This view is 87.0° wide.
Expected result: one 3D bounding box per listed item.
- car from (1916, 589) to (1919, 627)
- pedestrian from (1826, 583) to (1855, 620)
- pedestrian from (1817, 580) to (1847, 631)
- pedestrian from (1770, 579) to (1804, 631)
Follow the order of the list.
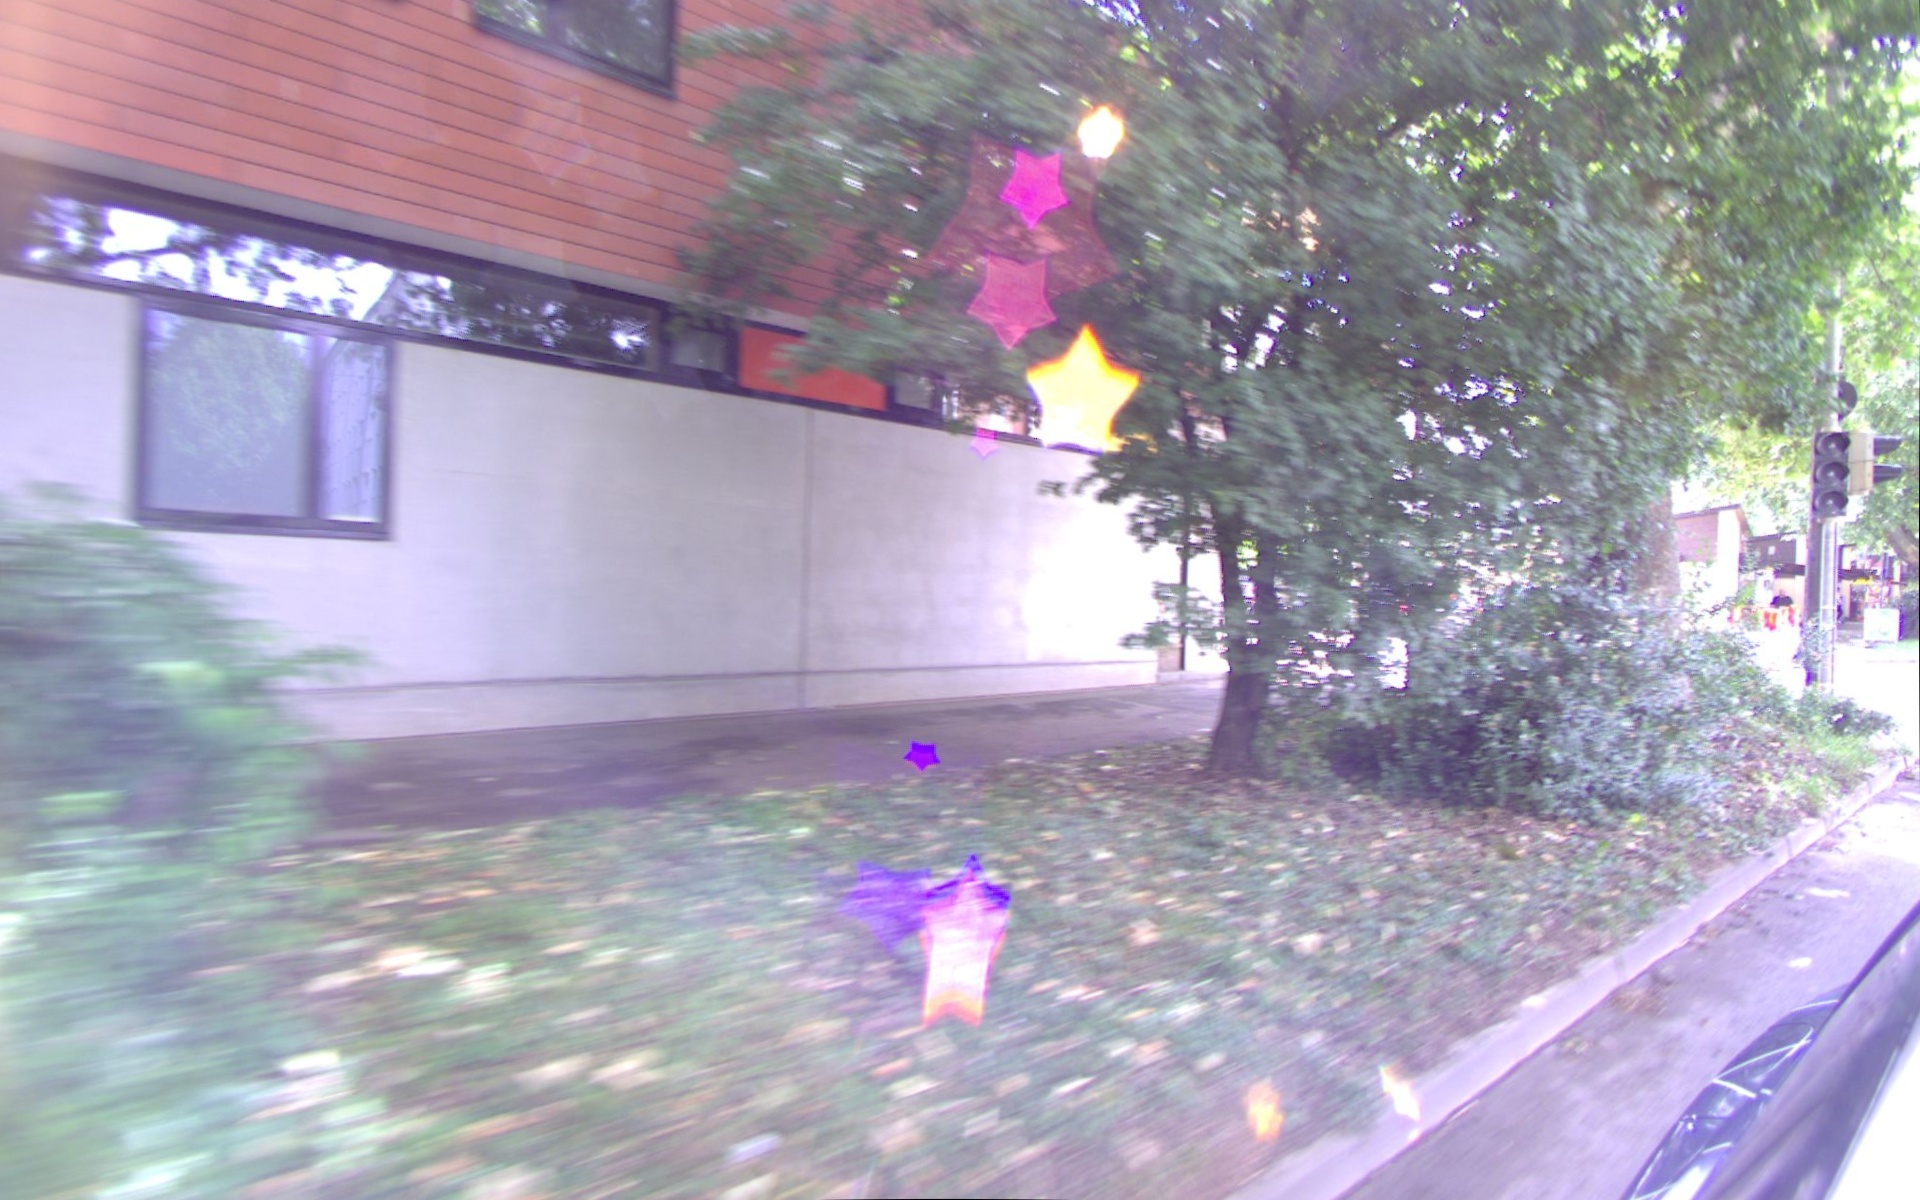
[{"bbox_3d":[42.196,0.433,41.829,3.830,1.581,1.594,4,3,44],"label":"car"},{"bbox_3d":[44.848,0.072,51.538,0.595,1.823,0.925,1,2,4],"label":"pedestrian"},{"bbox_3d":[29.470,0.171,34.194,0.758,1.697,0.625,0,1,-40],"label":"pedestrian"},{"bbox_3d":[28.424,0.175,34.794,0.648,1.746,0.759,0,2,-44],"label":"pedestrian"}]
